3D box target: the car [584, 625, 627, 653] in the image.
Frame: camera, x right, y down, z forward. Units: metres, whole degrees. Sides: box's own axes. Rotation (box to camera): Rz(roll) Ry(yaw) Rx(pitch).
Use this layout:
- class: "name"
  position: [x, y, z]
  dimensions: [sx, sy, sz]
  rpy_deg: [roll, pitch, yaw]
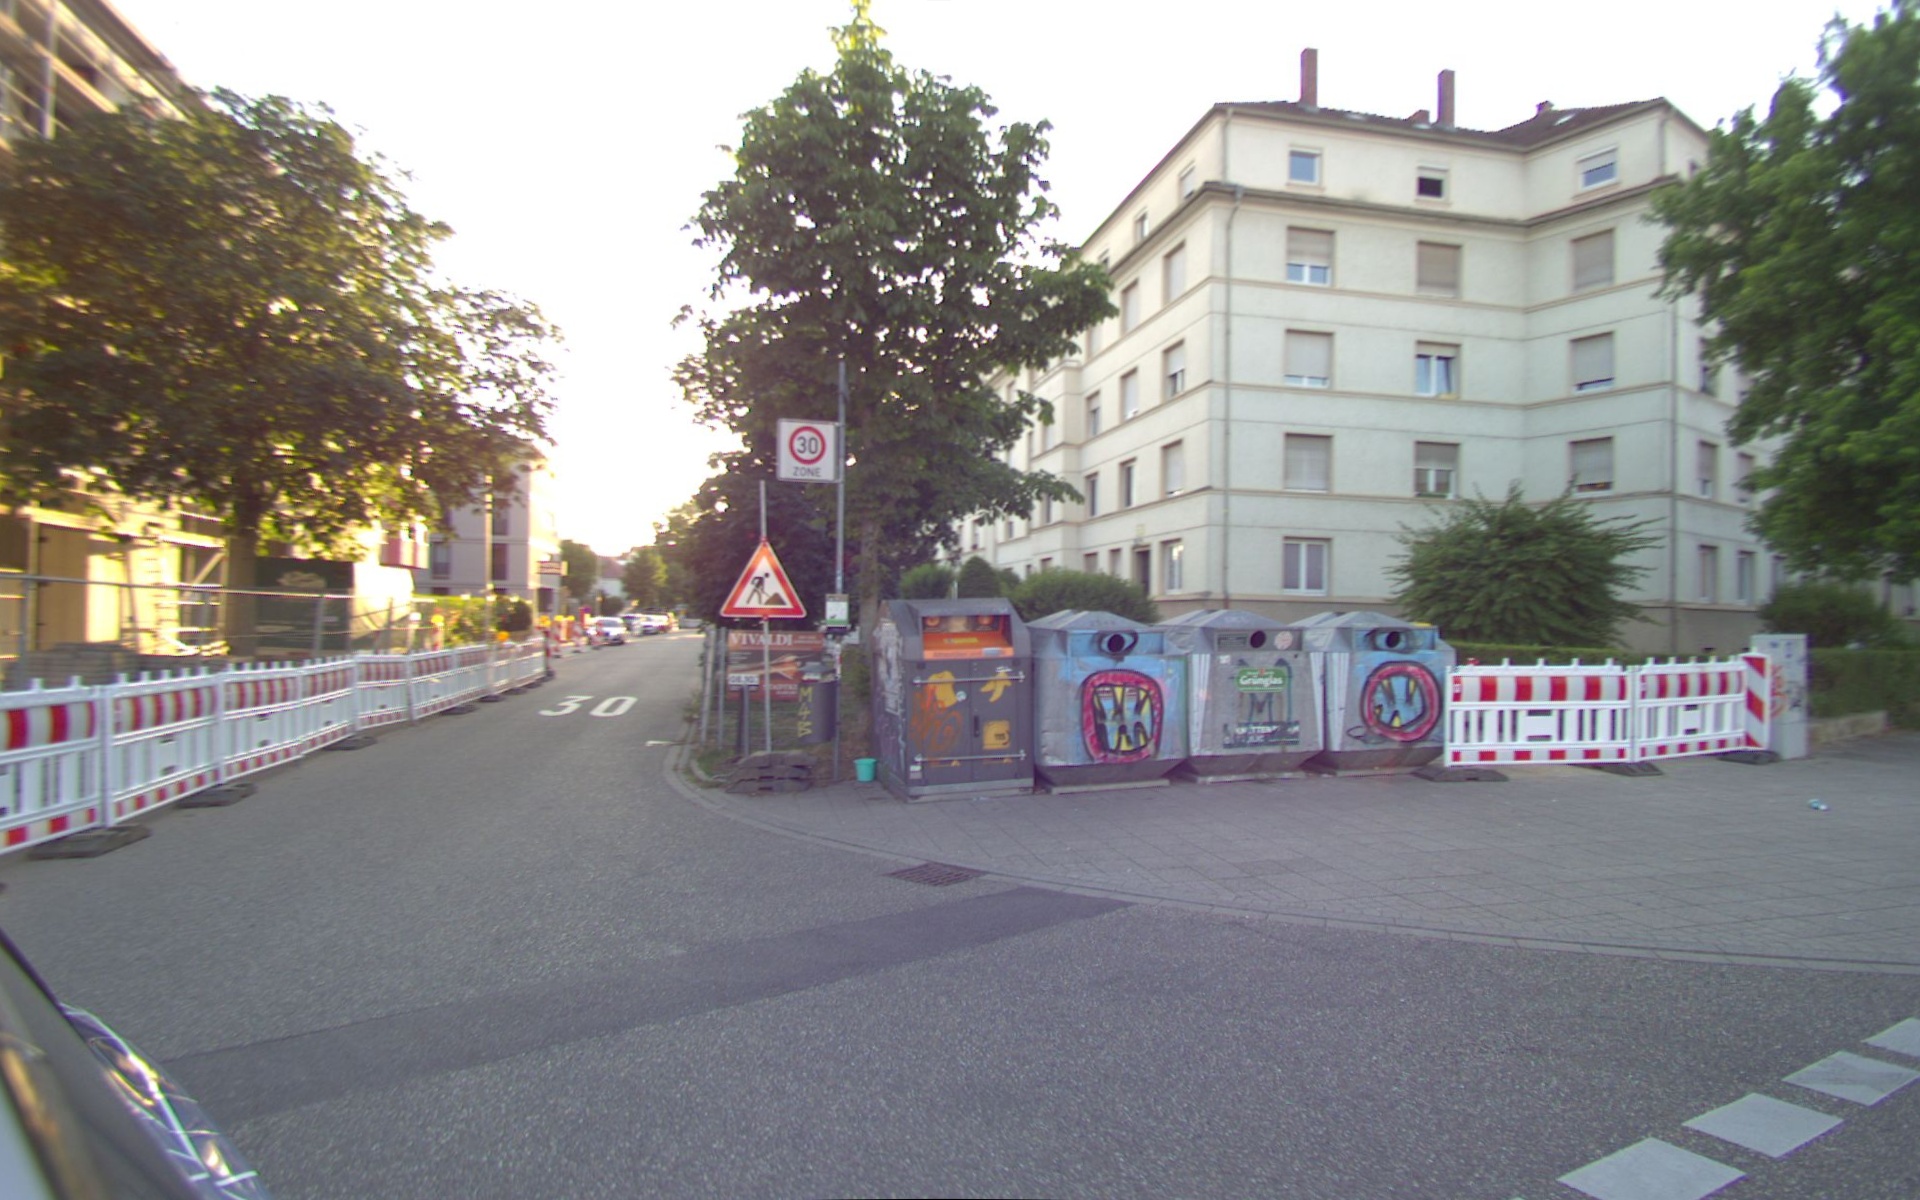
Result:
- class: "car"
  position: [-18.712, 2.025, 53.573]
  dimensions: [1.751, 1.407, 4.118]
  rpy_deg: [1, -2, -14]

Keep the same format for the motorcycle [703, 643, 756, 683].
- class: "motorcycle"
  position: [-6.768, 1.840, 29.798]
  dimensions: [0.534, 1.028, 2.200]
  rpy_deg: [-2, -1, 15]

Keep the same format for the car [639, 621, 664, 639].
- class: "car"
  position: [-26.254, 2.507, 86.149]
  dimensions: [1.717, 1.481, 3.768]
  rpy_deg: [1, -2, -13]

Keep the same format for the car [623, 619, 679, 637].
- class: "car"
  position: [-28.396, 2.588, 93.031]
  dimensions: [4.754, 1.409, 1.774]
  rpy_deg: [2, -2, -12]

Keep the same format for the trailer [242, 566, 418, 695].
- class: "trailer"
  position: [-13.658, 0.673, 22.267]
  dimensions: [1.967, 2.559, 4.196]
  rpy_deg: [1, -2, -13]

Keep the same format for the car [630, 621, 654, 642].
- class: "car"
  position: [-23.752, 2.355, 75.730]
  dimensions: [1.592, 1.481, 4.008]
  rpy_deg: [1, -2, -16]
